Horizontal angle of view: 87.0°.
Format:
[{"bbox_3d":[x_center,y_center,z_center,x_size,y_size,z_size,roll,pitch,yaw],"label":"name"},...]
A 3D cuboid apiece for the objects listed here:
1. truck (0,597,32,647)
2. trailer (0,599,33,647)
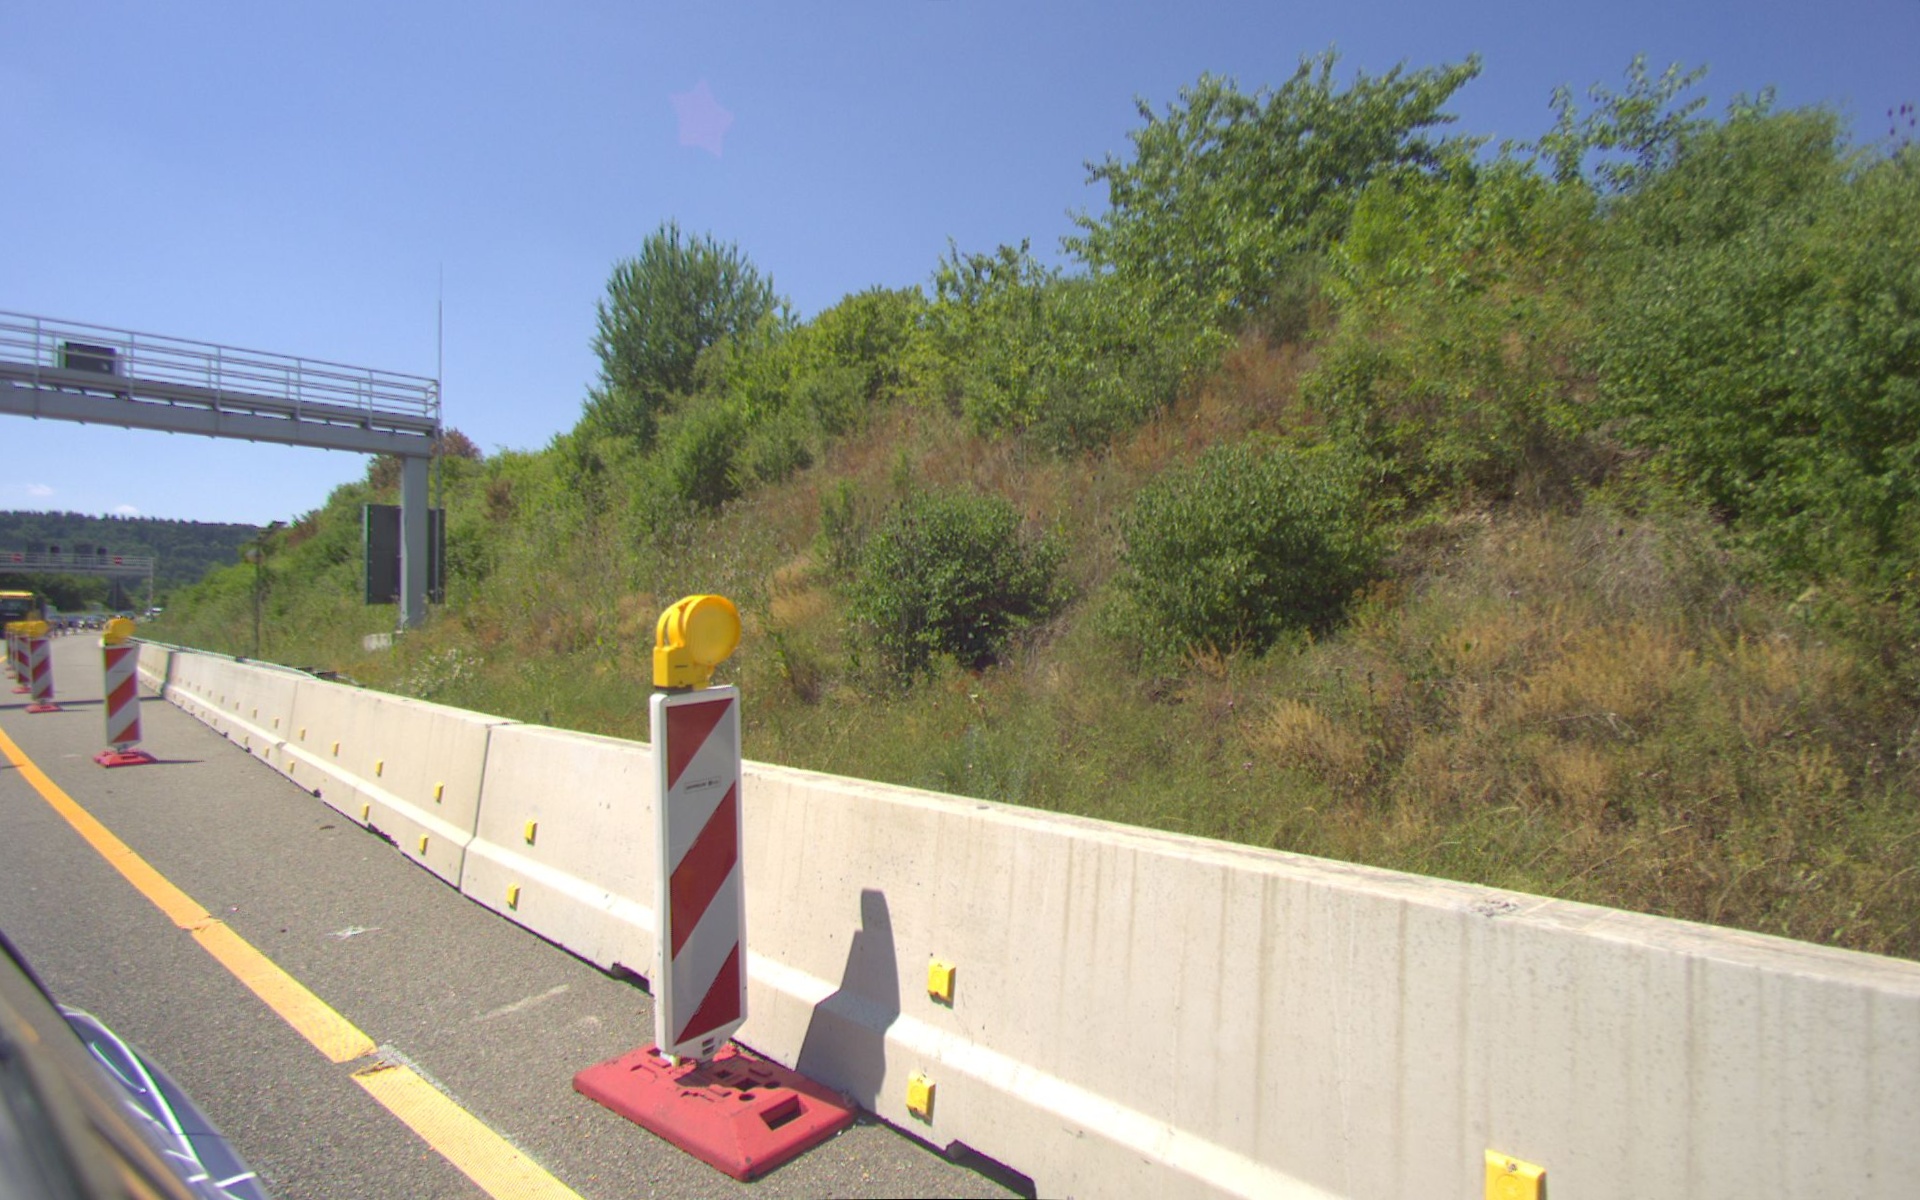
[{"bbox_3d":[-74.258,1.780,78.607,3.183,3.689,7.090,-1,-2,-43],"label":"truck"},{"bbox_3d":[-79.936,2.095,84.878,3.190,3.695,17.440,0,-2,-42],"label":"trailer"}]
